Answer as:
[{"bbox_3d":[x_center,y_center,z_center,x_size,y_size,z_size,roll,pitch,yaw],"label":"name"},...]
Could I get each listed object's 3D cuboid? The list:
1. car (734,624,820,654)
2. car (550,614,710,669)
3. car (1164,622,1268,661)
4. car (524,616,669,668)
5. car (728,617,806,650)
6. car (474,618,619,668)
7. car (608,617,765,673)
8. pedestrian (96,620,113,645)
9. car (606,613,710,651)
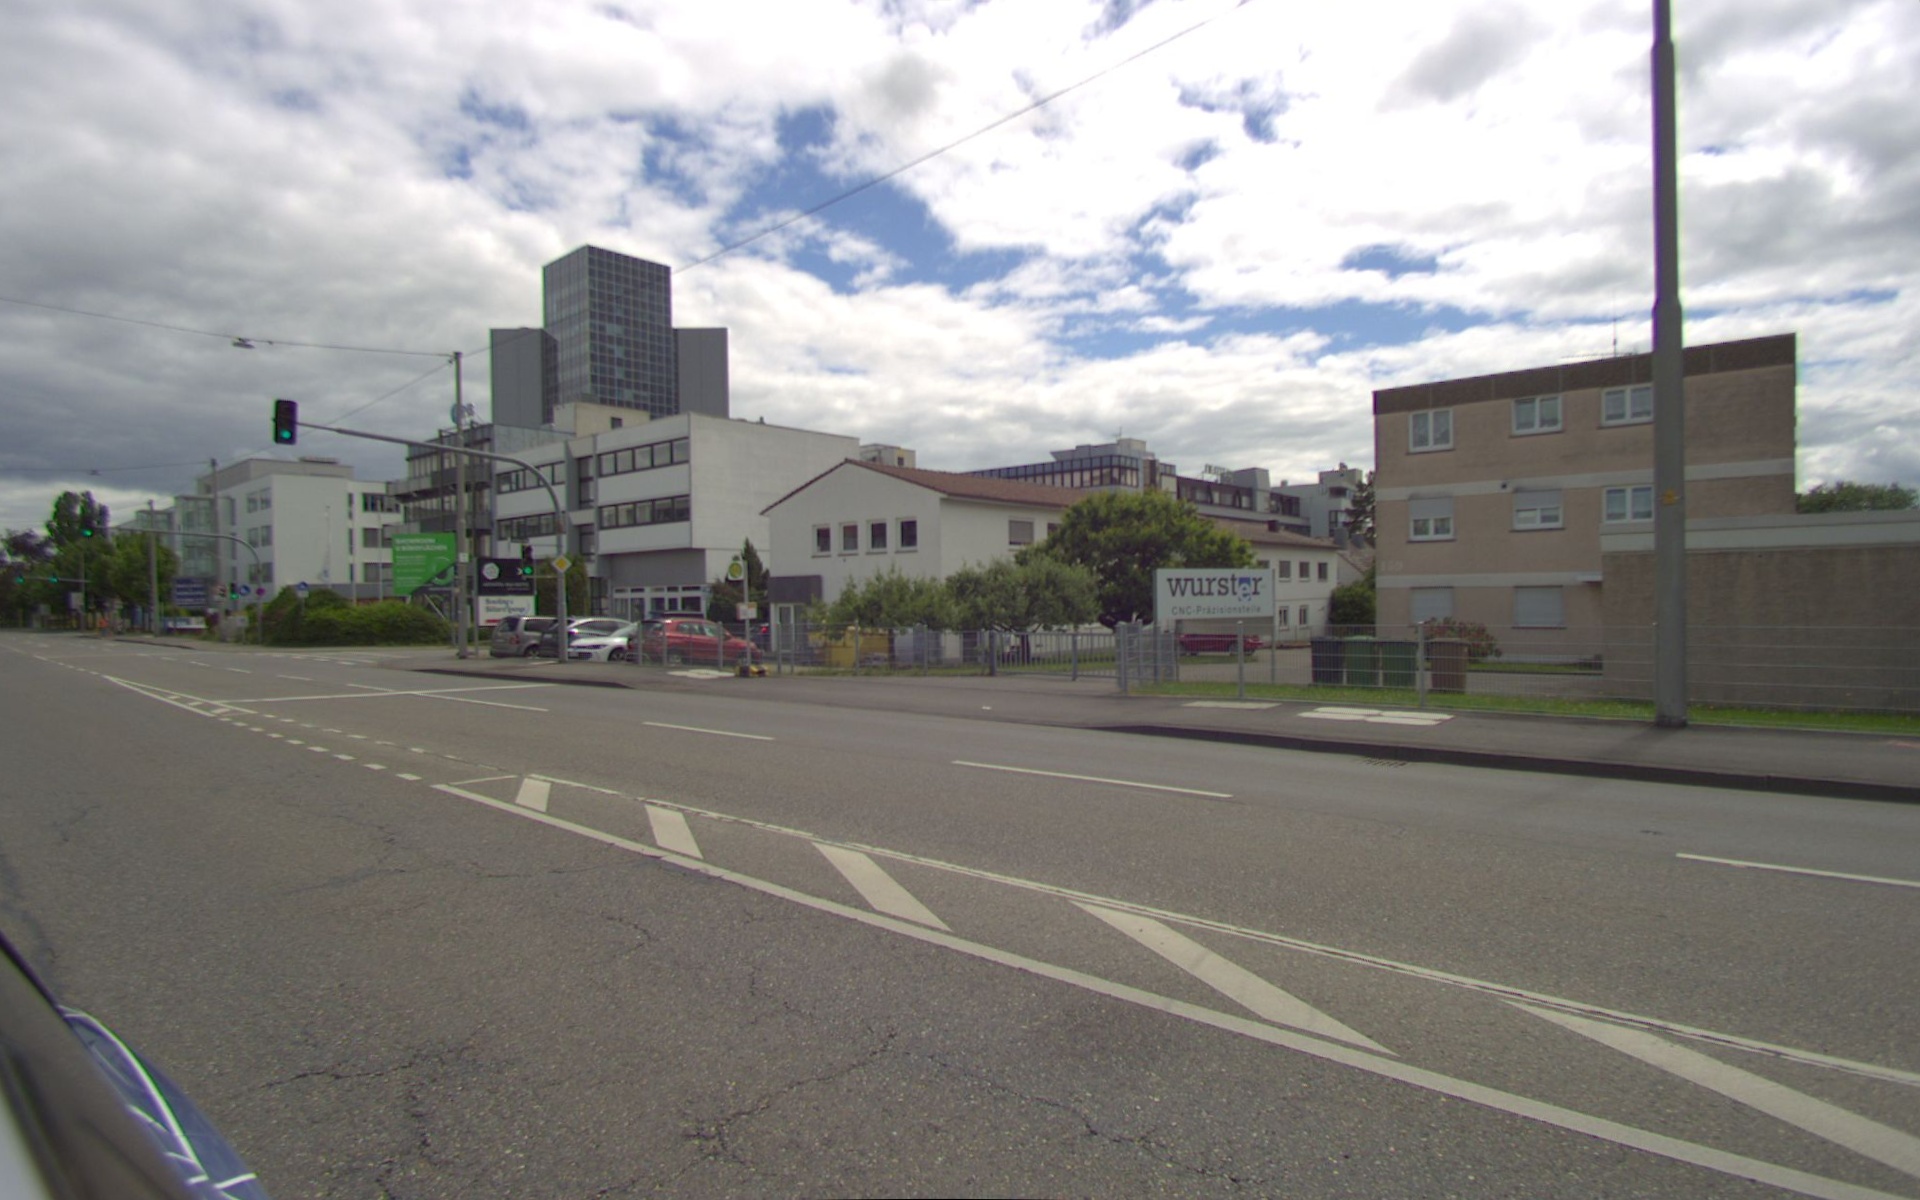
[{"bbox_3d":[-9.010,1.924,50.025,1.811,1.431,3.883,-4,-4,43],"label":"car"},{"bbox_3d":[-9.951,1.301,30.808,1.981,1.398,4.183,0,-5,38],"label":"car"},{"bbox_3d":[11.483,1.826,45.494,4.168,1.554,1.827,-1,2,37],"label":"car"},{"bbox_3d":[-11.660,1.369,32.653,1.854,1.435,3.945,0,-5,41],"label":"car"},{"bbox_3d":[-11.065,1.934,58.107,2.000,1.719,3.943,0,-3,43],"label":"car"},{"bbox_3d":[-13.755,1.479,33.857,1.904,1.409,4.055,-2,-6,36],"label":"car"},{"bbox_3d":[-7.848,1.329,29.294,1.848,1.380,3.945,0,-5,41],"label":"car"},{"bbox_3d":[-73.498,2.797,86.947,0.715,2.028,0.811,-2,2,-4],"label":"pedestrian"},{"bbox_3d":[-15.789,1.682,53.016,4.699,1.806,2.172,3,0,-45],"label":"car"}]
